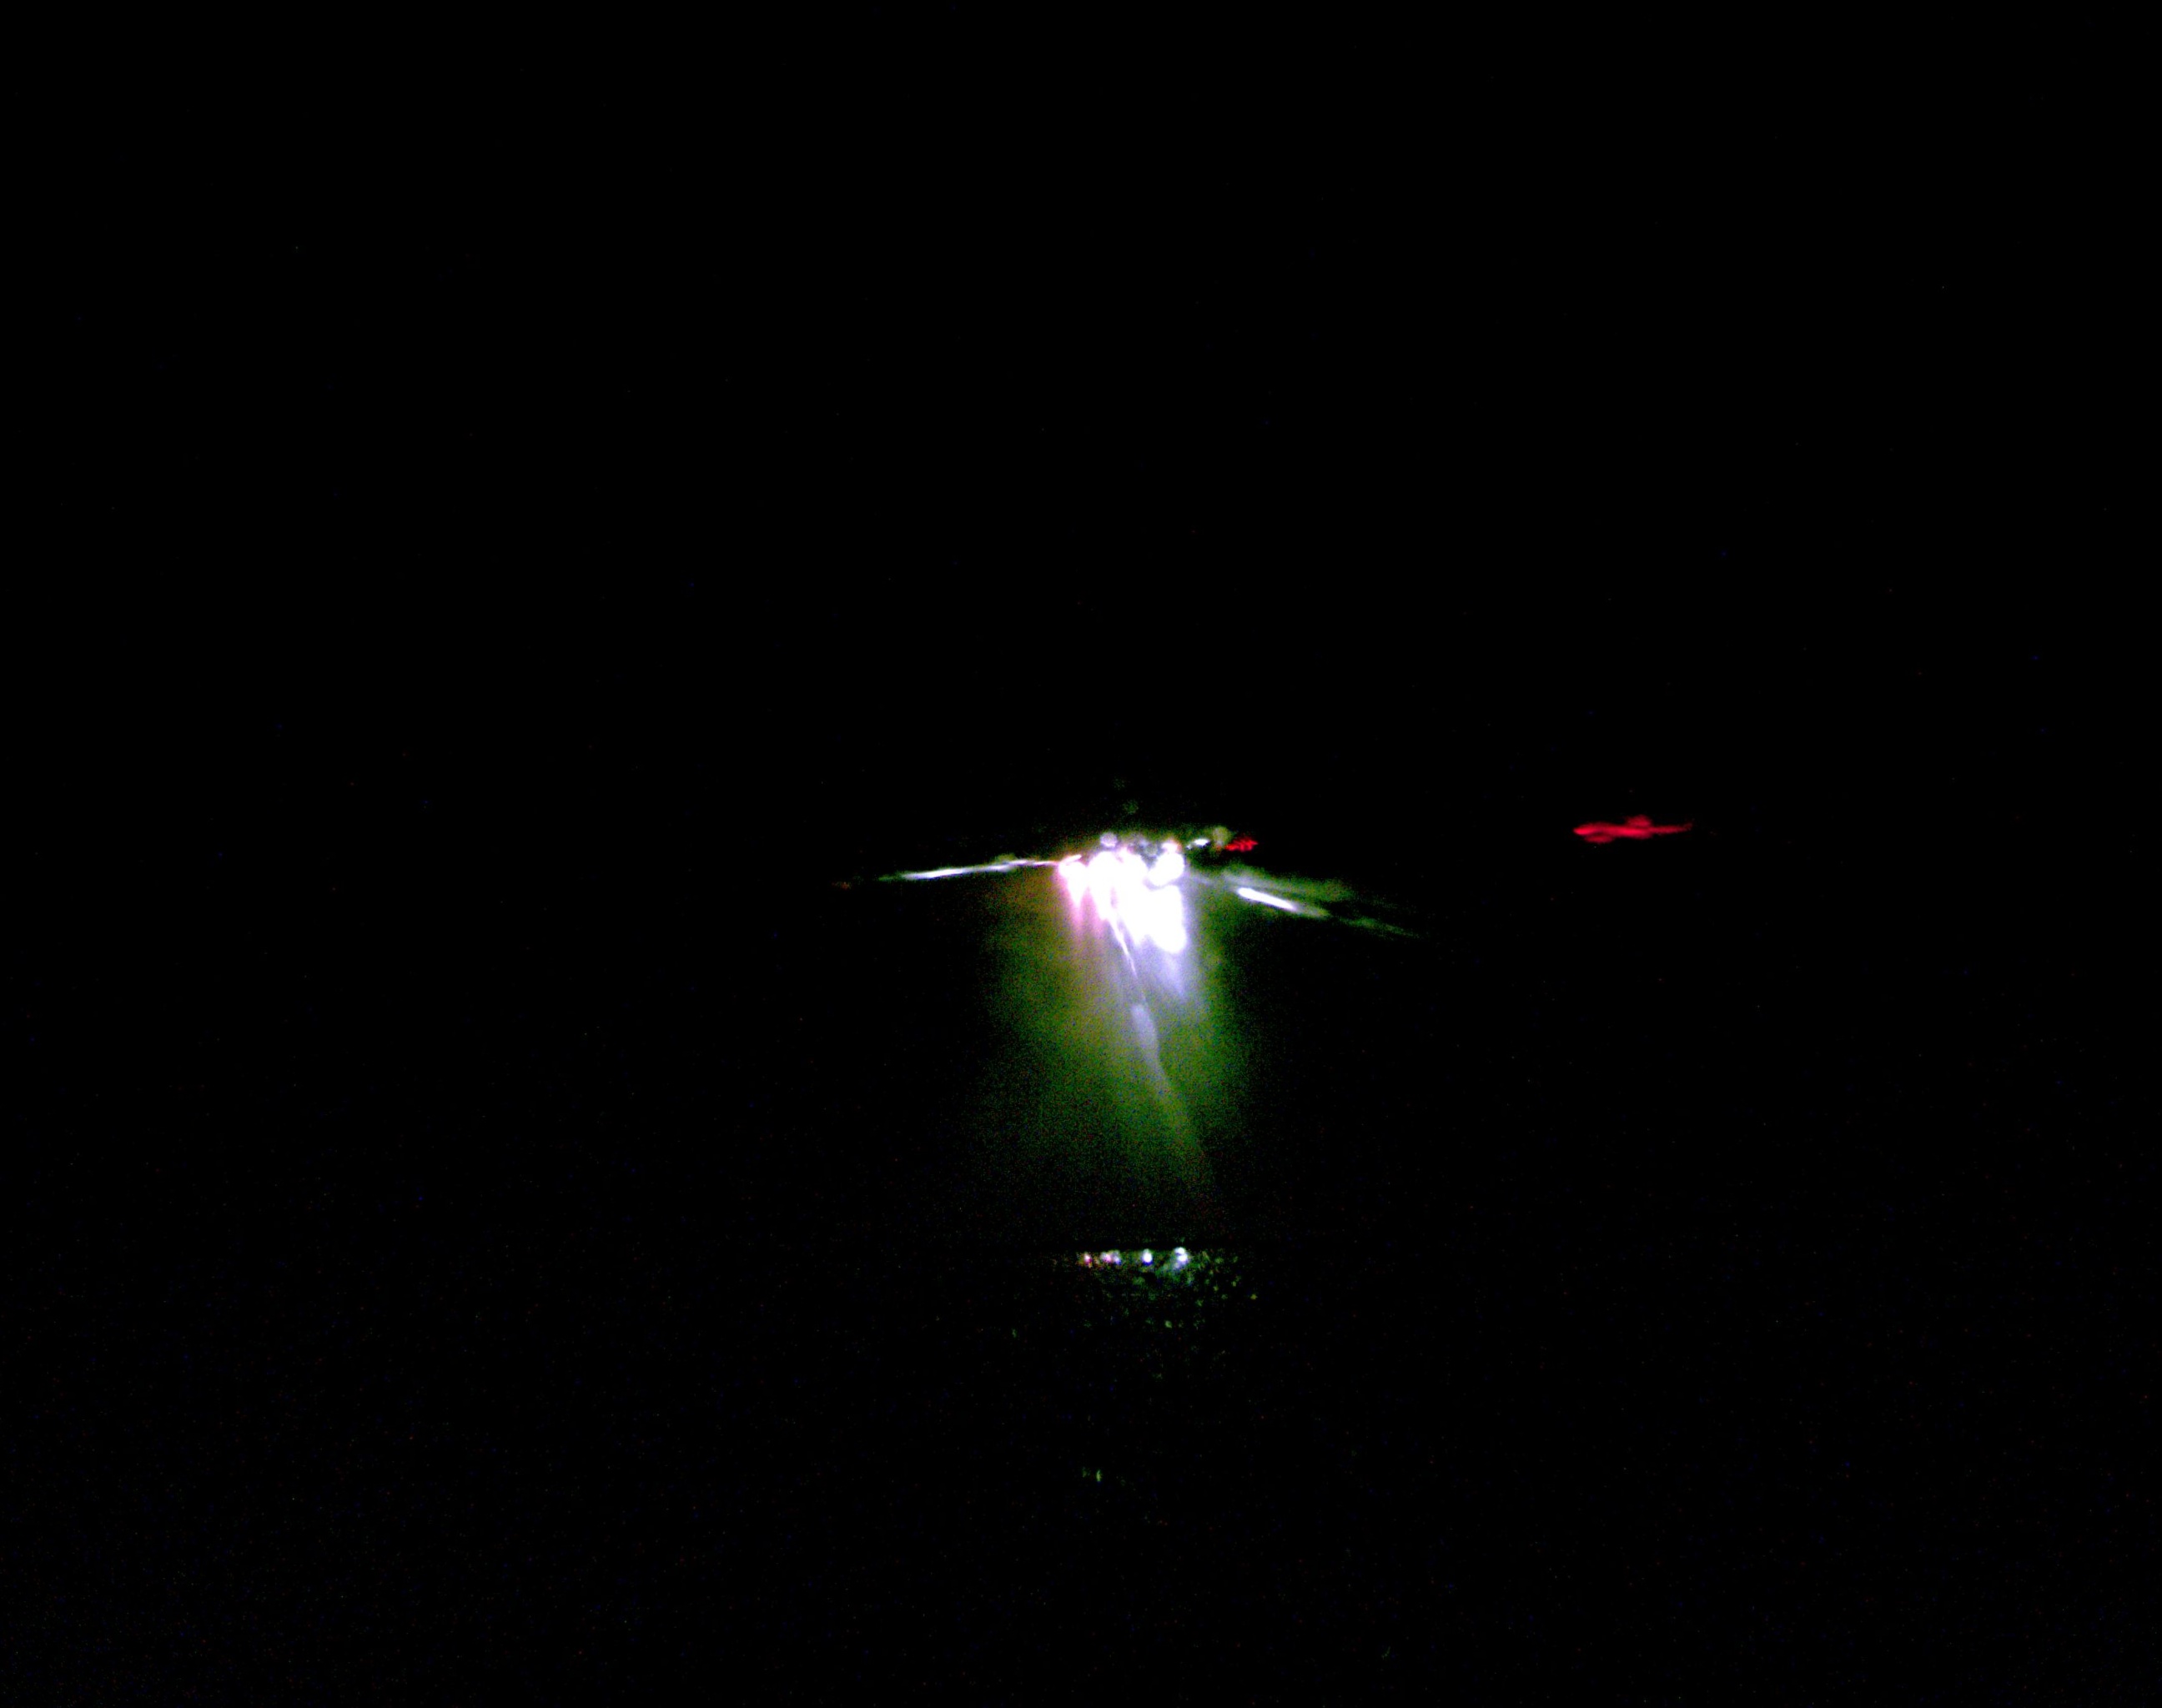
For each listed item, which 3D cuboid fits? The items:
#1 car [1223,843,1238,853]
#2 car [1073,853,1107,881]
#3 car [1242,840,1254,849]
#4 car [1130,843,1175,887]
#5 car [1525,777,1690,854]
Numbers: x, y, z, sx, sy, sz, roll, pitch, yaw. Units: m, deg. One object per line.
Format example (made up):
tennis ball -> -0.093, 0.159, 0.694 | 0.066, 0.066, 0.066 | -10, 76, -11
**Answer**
car -> 25.267, -0.972, 128.145 | 1.998, 1.469, 4.002 | -6, -1, 6
car -> 0.602, 0.783, 48.369 | 1.804, 1.608, 4.257 | -2, 1, 5
car -> 35.210, -1.992, 160.219 | 1.997, 1.595, 4.003 | -6, -1, 8
car -> 3.659, 0.576, 39.514 | 1.998, 2.001, 4.001 | -4, -1, 3
car -> 15.452, -1.044, 22.629 | 1.998, 1.842, 4.001 | -6, -1, 1
